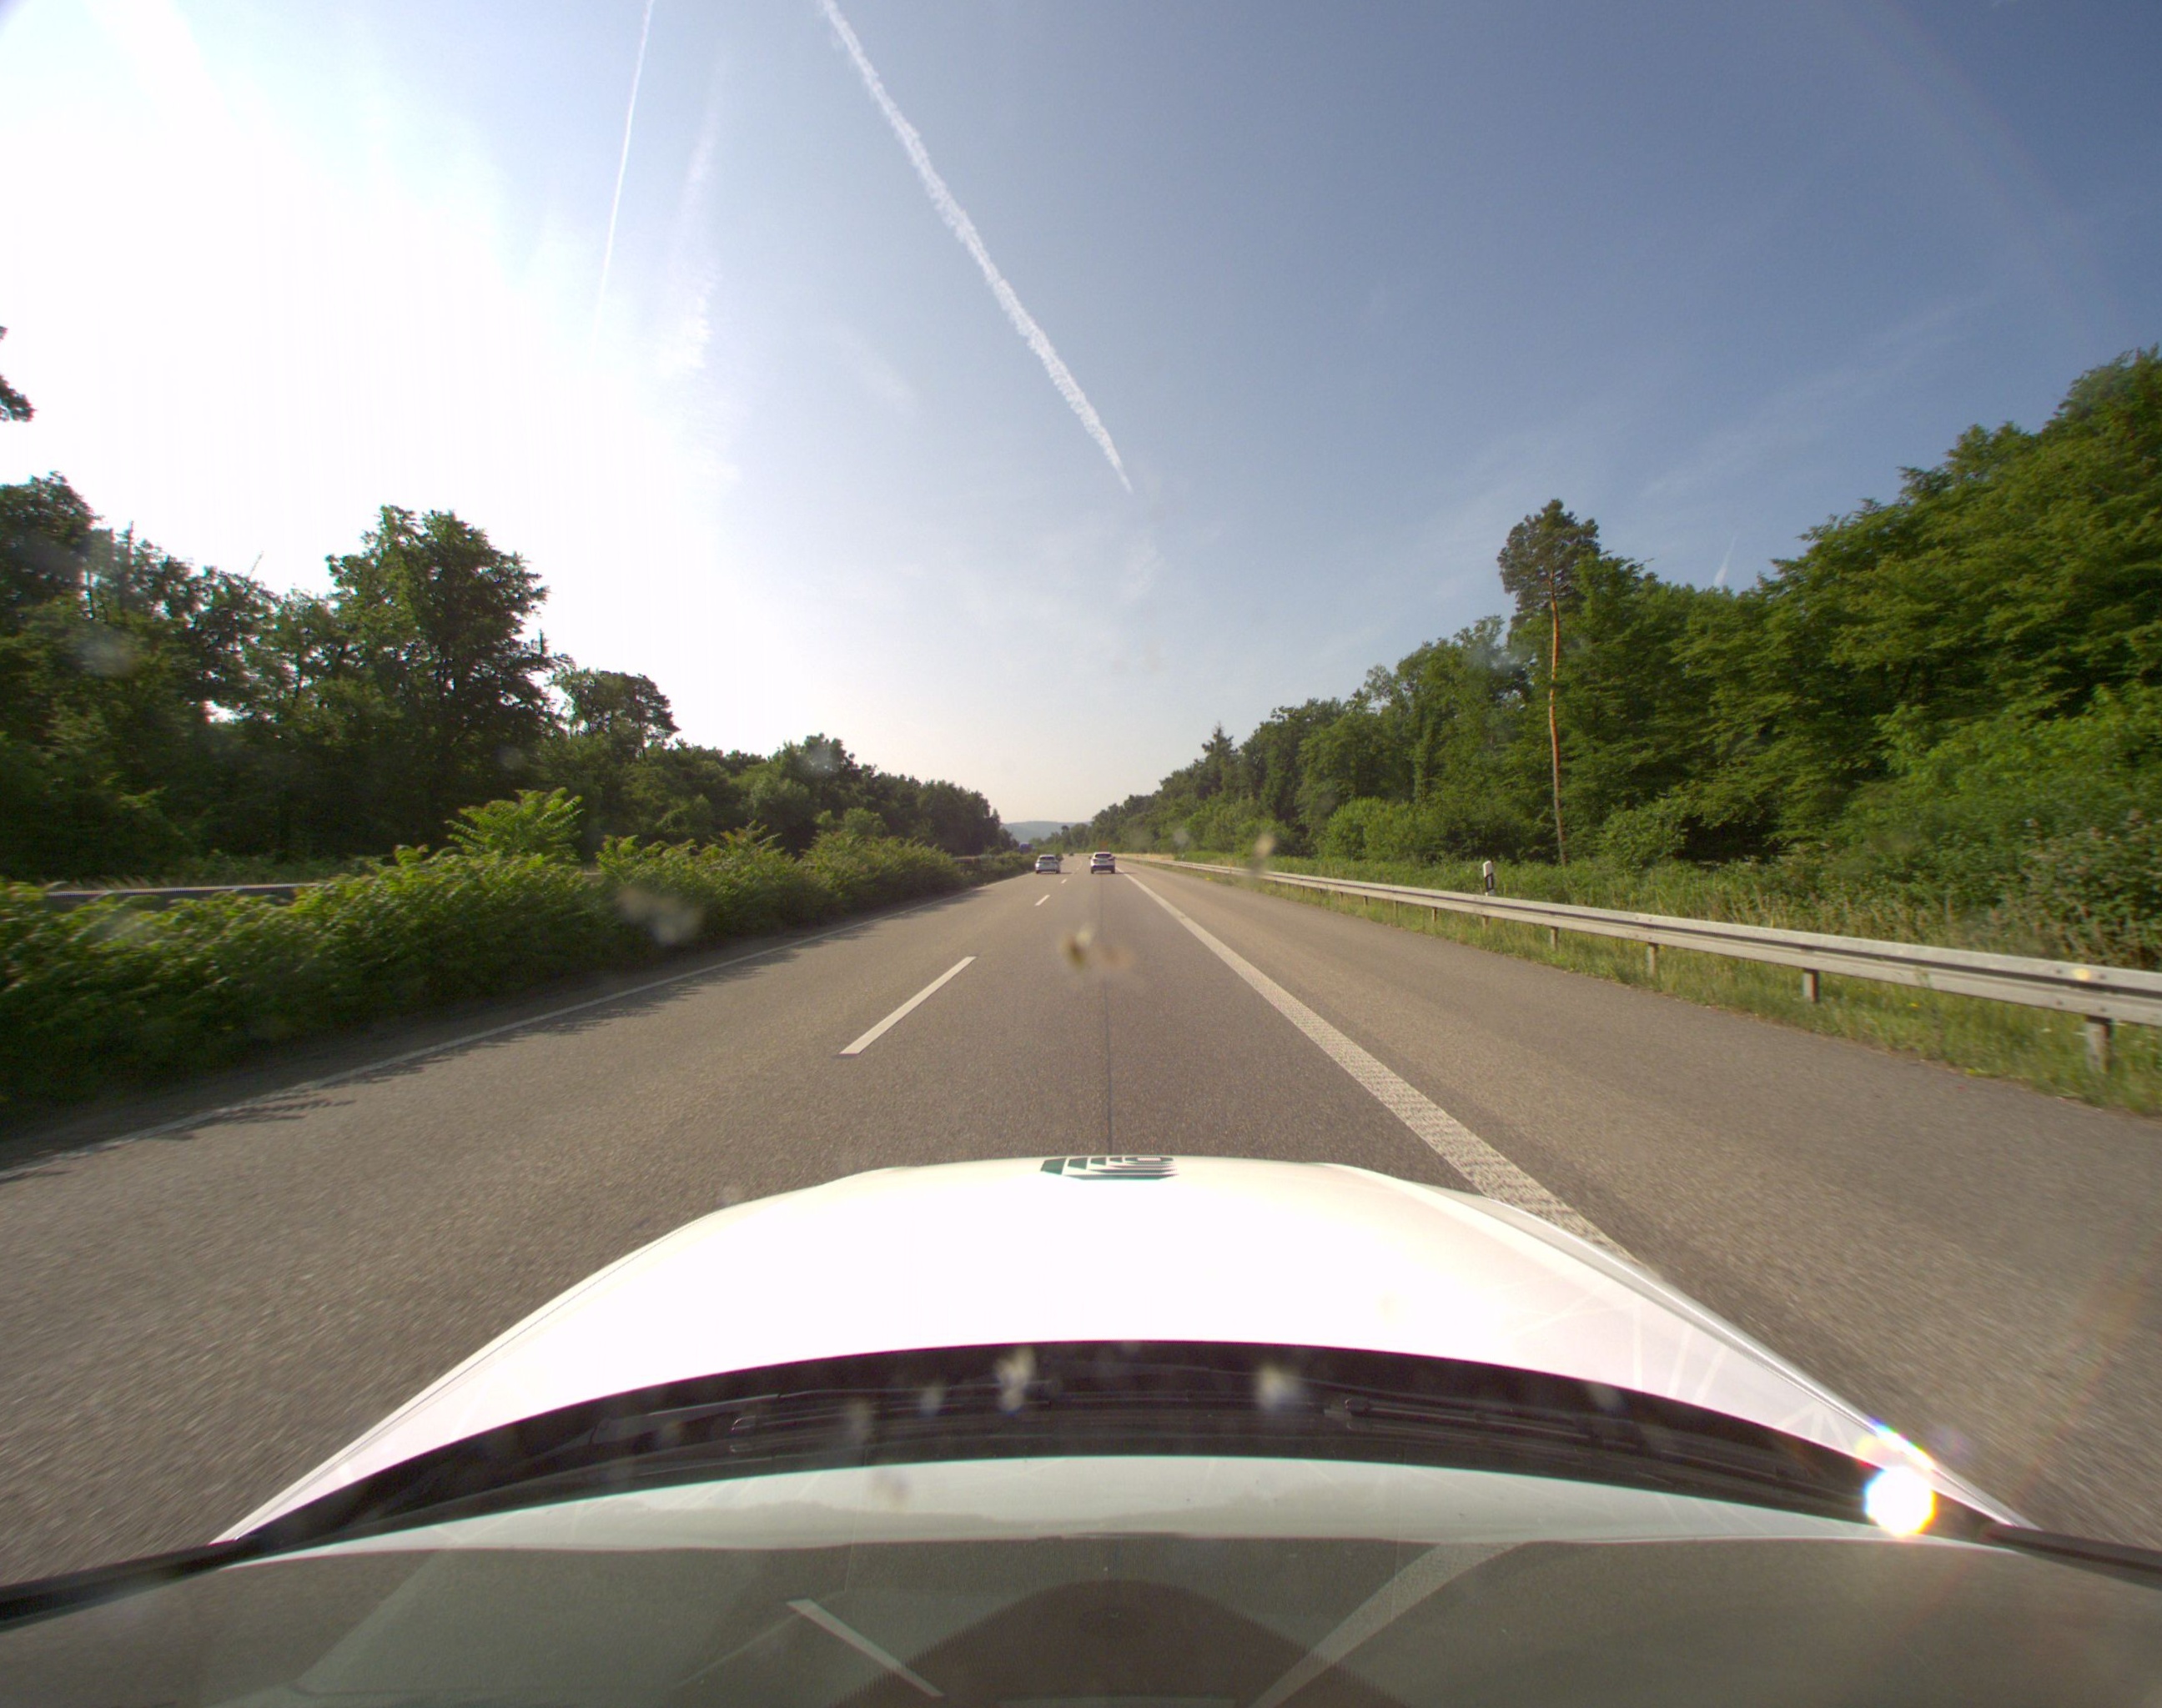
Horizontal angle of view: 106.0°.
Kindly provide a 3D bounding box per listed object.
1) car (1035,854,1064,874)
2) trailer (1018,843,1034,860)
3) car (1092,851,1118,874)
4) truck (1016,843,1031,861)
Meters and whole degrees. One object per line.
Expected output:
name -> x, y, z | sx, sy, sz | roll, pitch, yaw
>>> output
car -> -2.423, 0.750, 63.595 | 1.785, 1.438, 5.281 | -2, 0, 2
trailer -> -13.232, -0.518, 196.805 | 2.822, 3.998, 11.434 | -1, 0, 1
car -> 1.754, 0.597, 60.835 | 1.867, 1.586, 4.000 | 1, 0, 1
truck -> -13.308, -0.492, 188.981 | 2.775, 3.998, 8.416 | -1, 0, 1
